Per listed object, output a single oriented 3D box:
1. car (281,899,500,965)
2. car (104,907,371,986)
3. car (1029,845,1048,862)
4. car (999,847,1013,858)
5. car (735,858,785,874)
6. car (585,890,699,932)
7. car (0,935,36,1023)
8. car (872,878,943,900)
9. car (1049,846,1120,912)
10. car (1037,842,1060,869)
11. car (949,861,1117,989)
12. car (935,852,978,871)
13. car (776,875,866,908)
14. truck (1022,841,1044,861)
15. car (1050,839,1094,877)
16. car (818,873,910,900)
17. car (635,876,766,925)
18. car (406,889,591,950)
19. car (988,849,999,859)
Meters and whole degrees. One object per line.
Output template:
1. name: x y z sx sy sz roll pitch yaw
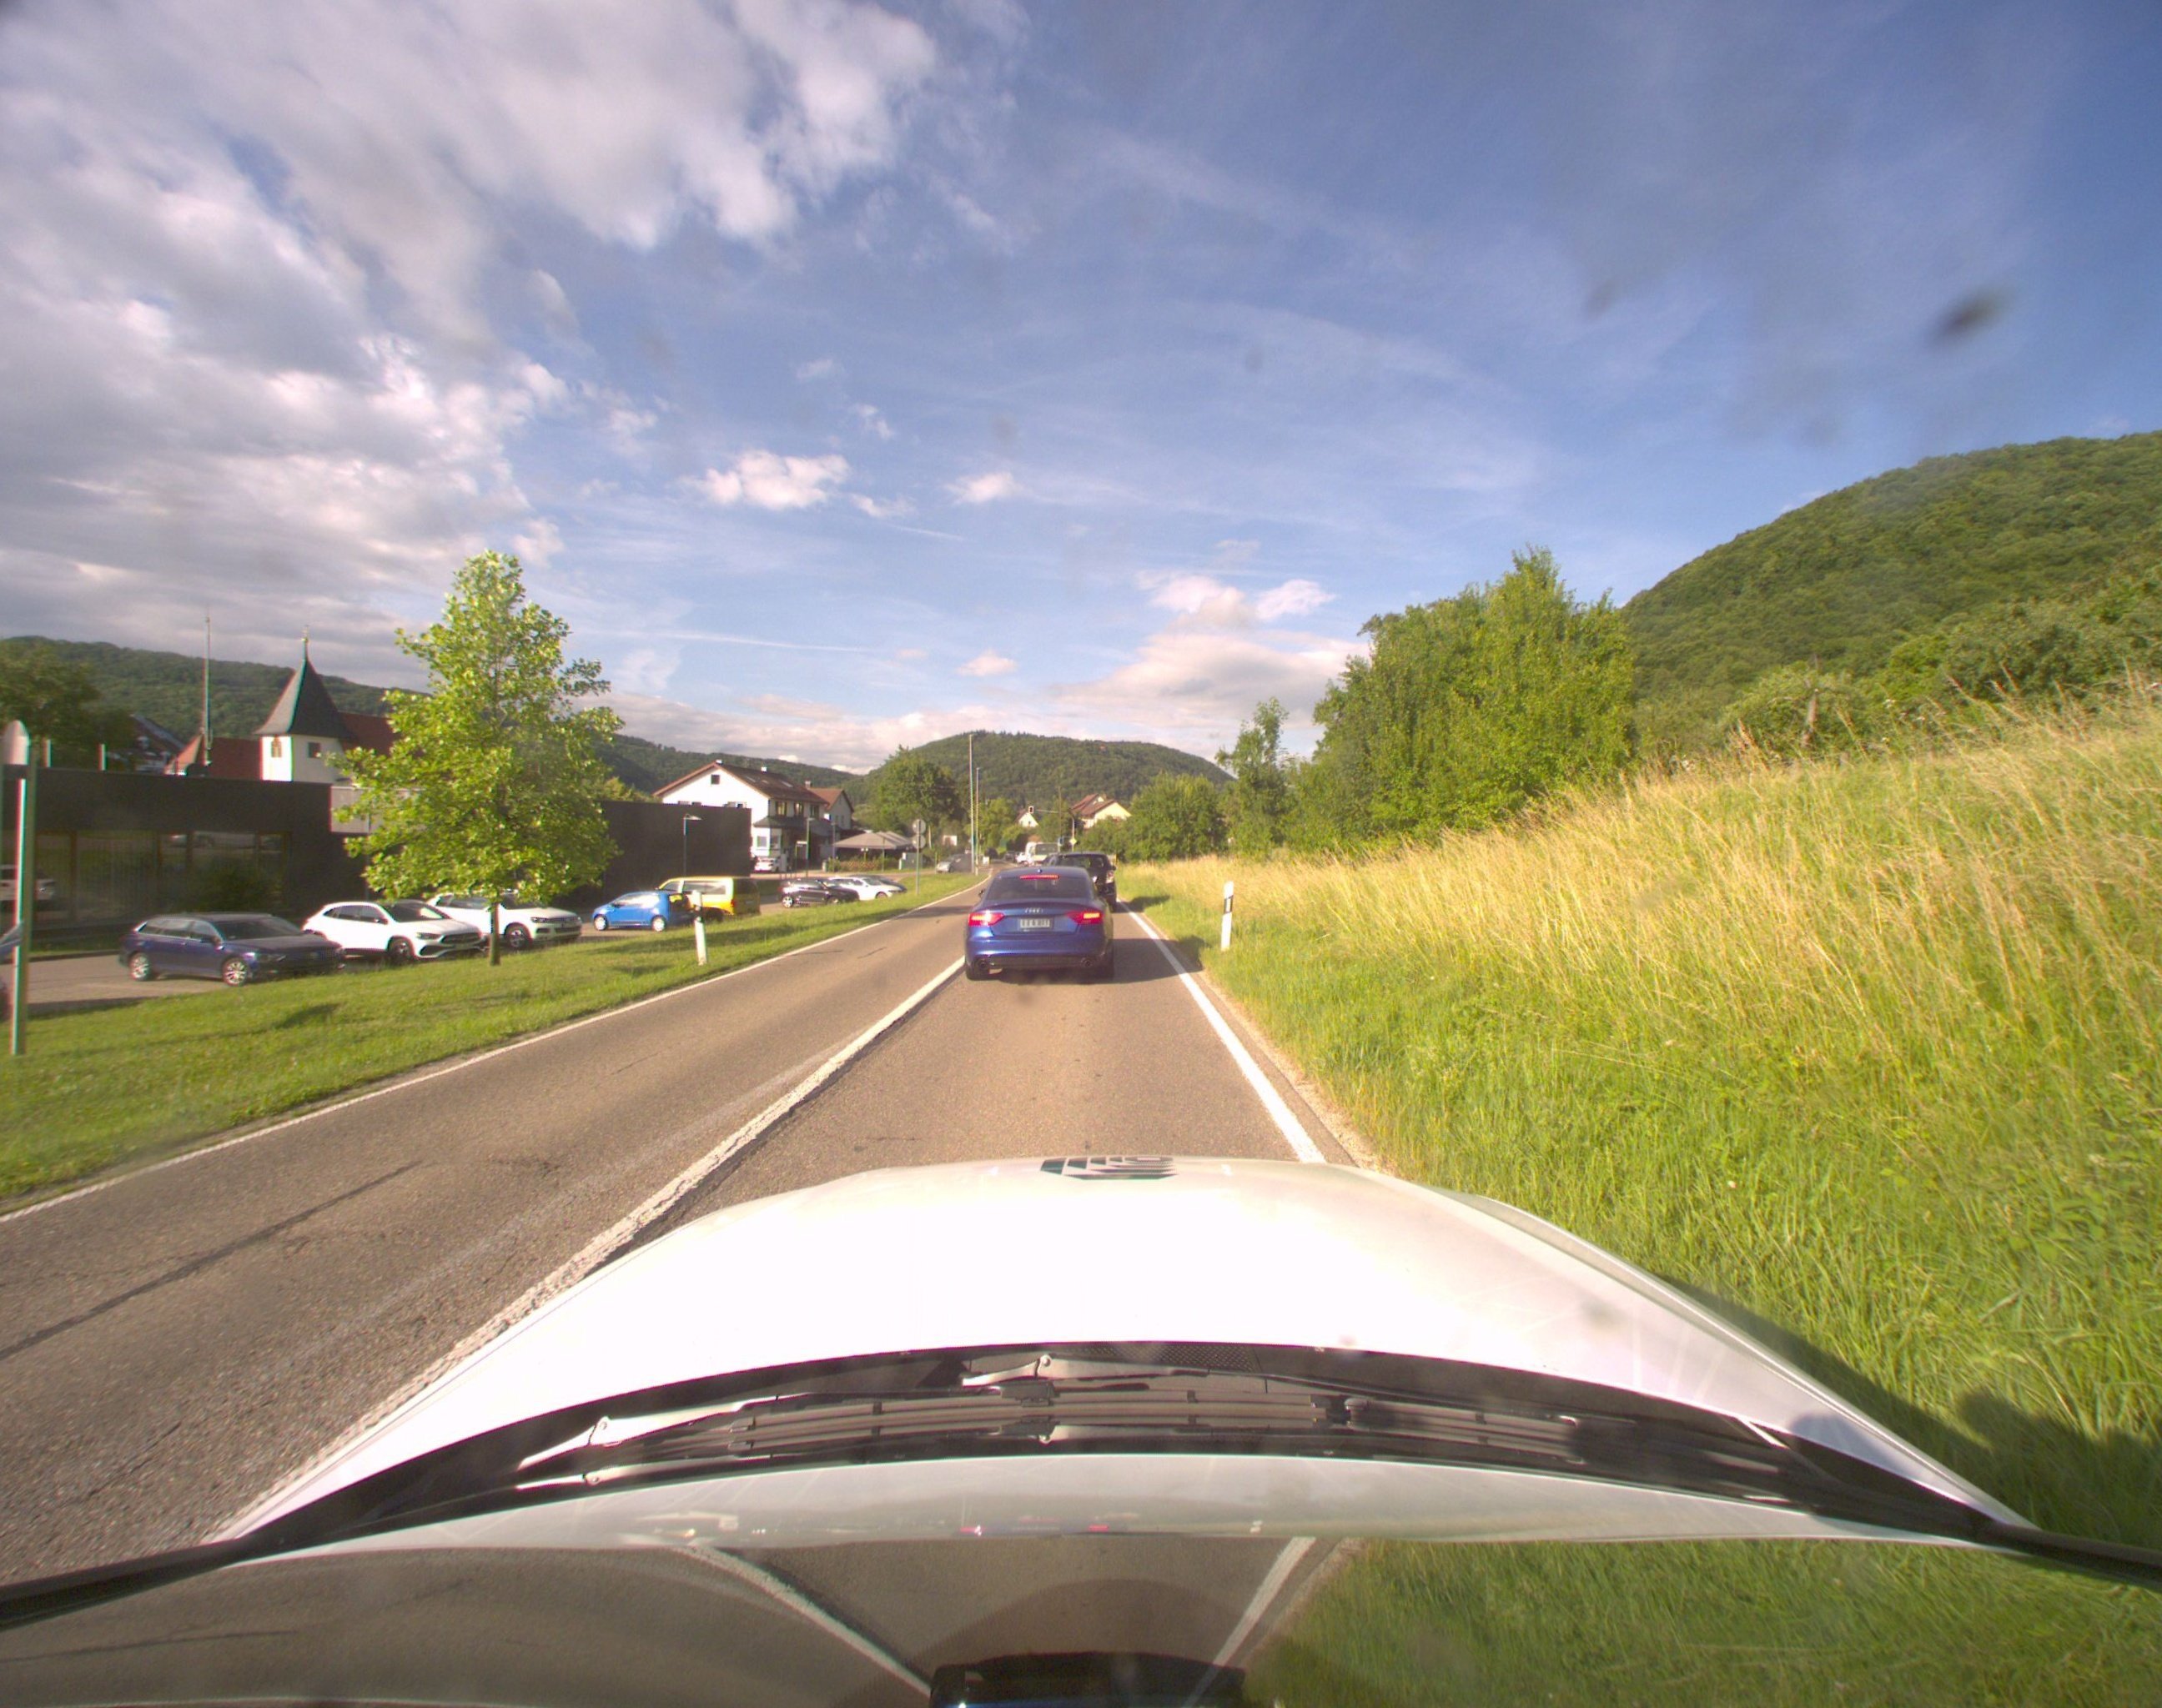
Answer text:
1. car: -18.355 2.023 21.745 4.510 1.555 2.006 -1 -1 10
2. car: -18.999 2.026 18.432 4.510 1.555 2.006 -1 -1 10
3. car: -4.223 -0.004 80.474 1.743 1.639 3.992 0 -1 -5
4. car: -11.330 -0.222 122.715 1.700 1.490 3.510 0 -1 -14
5. car: -28.488 1.060 72.391 1.748 1.442 4.022 -1 -1 23
6. car: -16.503 2.122 30.717 3.473 1.472 1.637 -1 -1 8
7. car: -19.643 2.092 13.291 3.697 1.398 1.620 -1 -1 10
8. car: -10.780 2.177 50.777 3.966 1.310 1.764 -1 -1 6
9. car: 0.182 0.659 22.479 1.739 1.639 4.003 0 -1 3
10. car: -2.724 0.120 67.840 1.743 2.195 3.992 0 -1 -5
11. car: -0.450 0.817 11.084 1.788 1.388 4.003 -1 -1 3
12. car: -11.140 0.632 72.952 3.491 1.662 1.719 0 -1 -45
13. car: -13.737 1.973 43.115 3.999 1.637 2.006 -1 -1 10
14. truck: -5.103 -0.279 85.867 1.698 1.953 5.901 0 -1 -10
15. car: -0.362 0.196 37.587 1.797 1.639 4.466 0 -1 2
16. car: -12.661 1.898 47.641 4.783 1.493 1.886 -1 -1 10
17. car: -15.490 1.868 33.204 4.577 1.868 2.008 -1 -1 14
18. car: -17.850 1.970 25.052 4.510 1.703 2.006 -1 -1 10
19. car: -15.475 0.000 144.493 1.626 1.576 3.665 0 -1 -11
